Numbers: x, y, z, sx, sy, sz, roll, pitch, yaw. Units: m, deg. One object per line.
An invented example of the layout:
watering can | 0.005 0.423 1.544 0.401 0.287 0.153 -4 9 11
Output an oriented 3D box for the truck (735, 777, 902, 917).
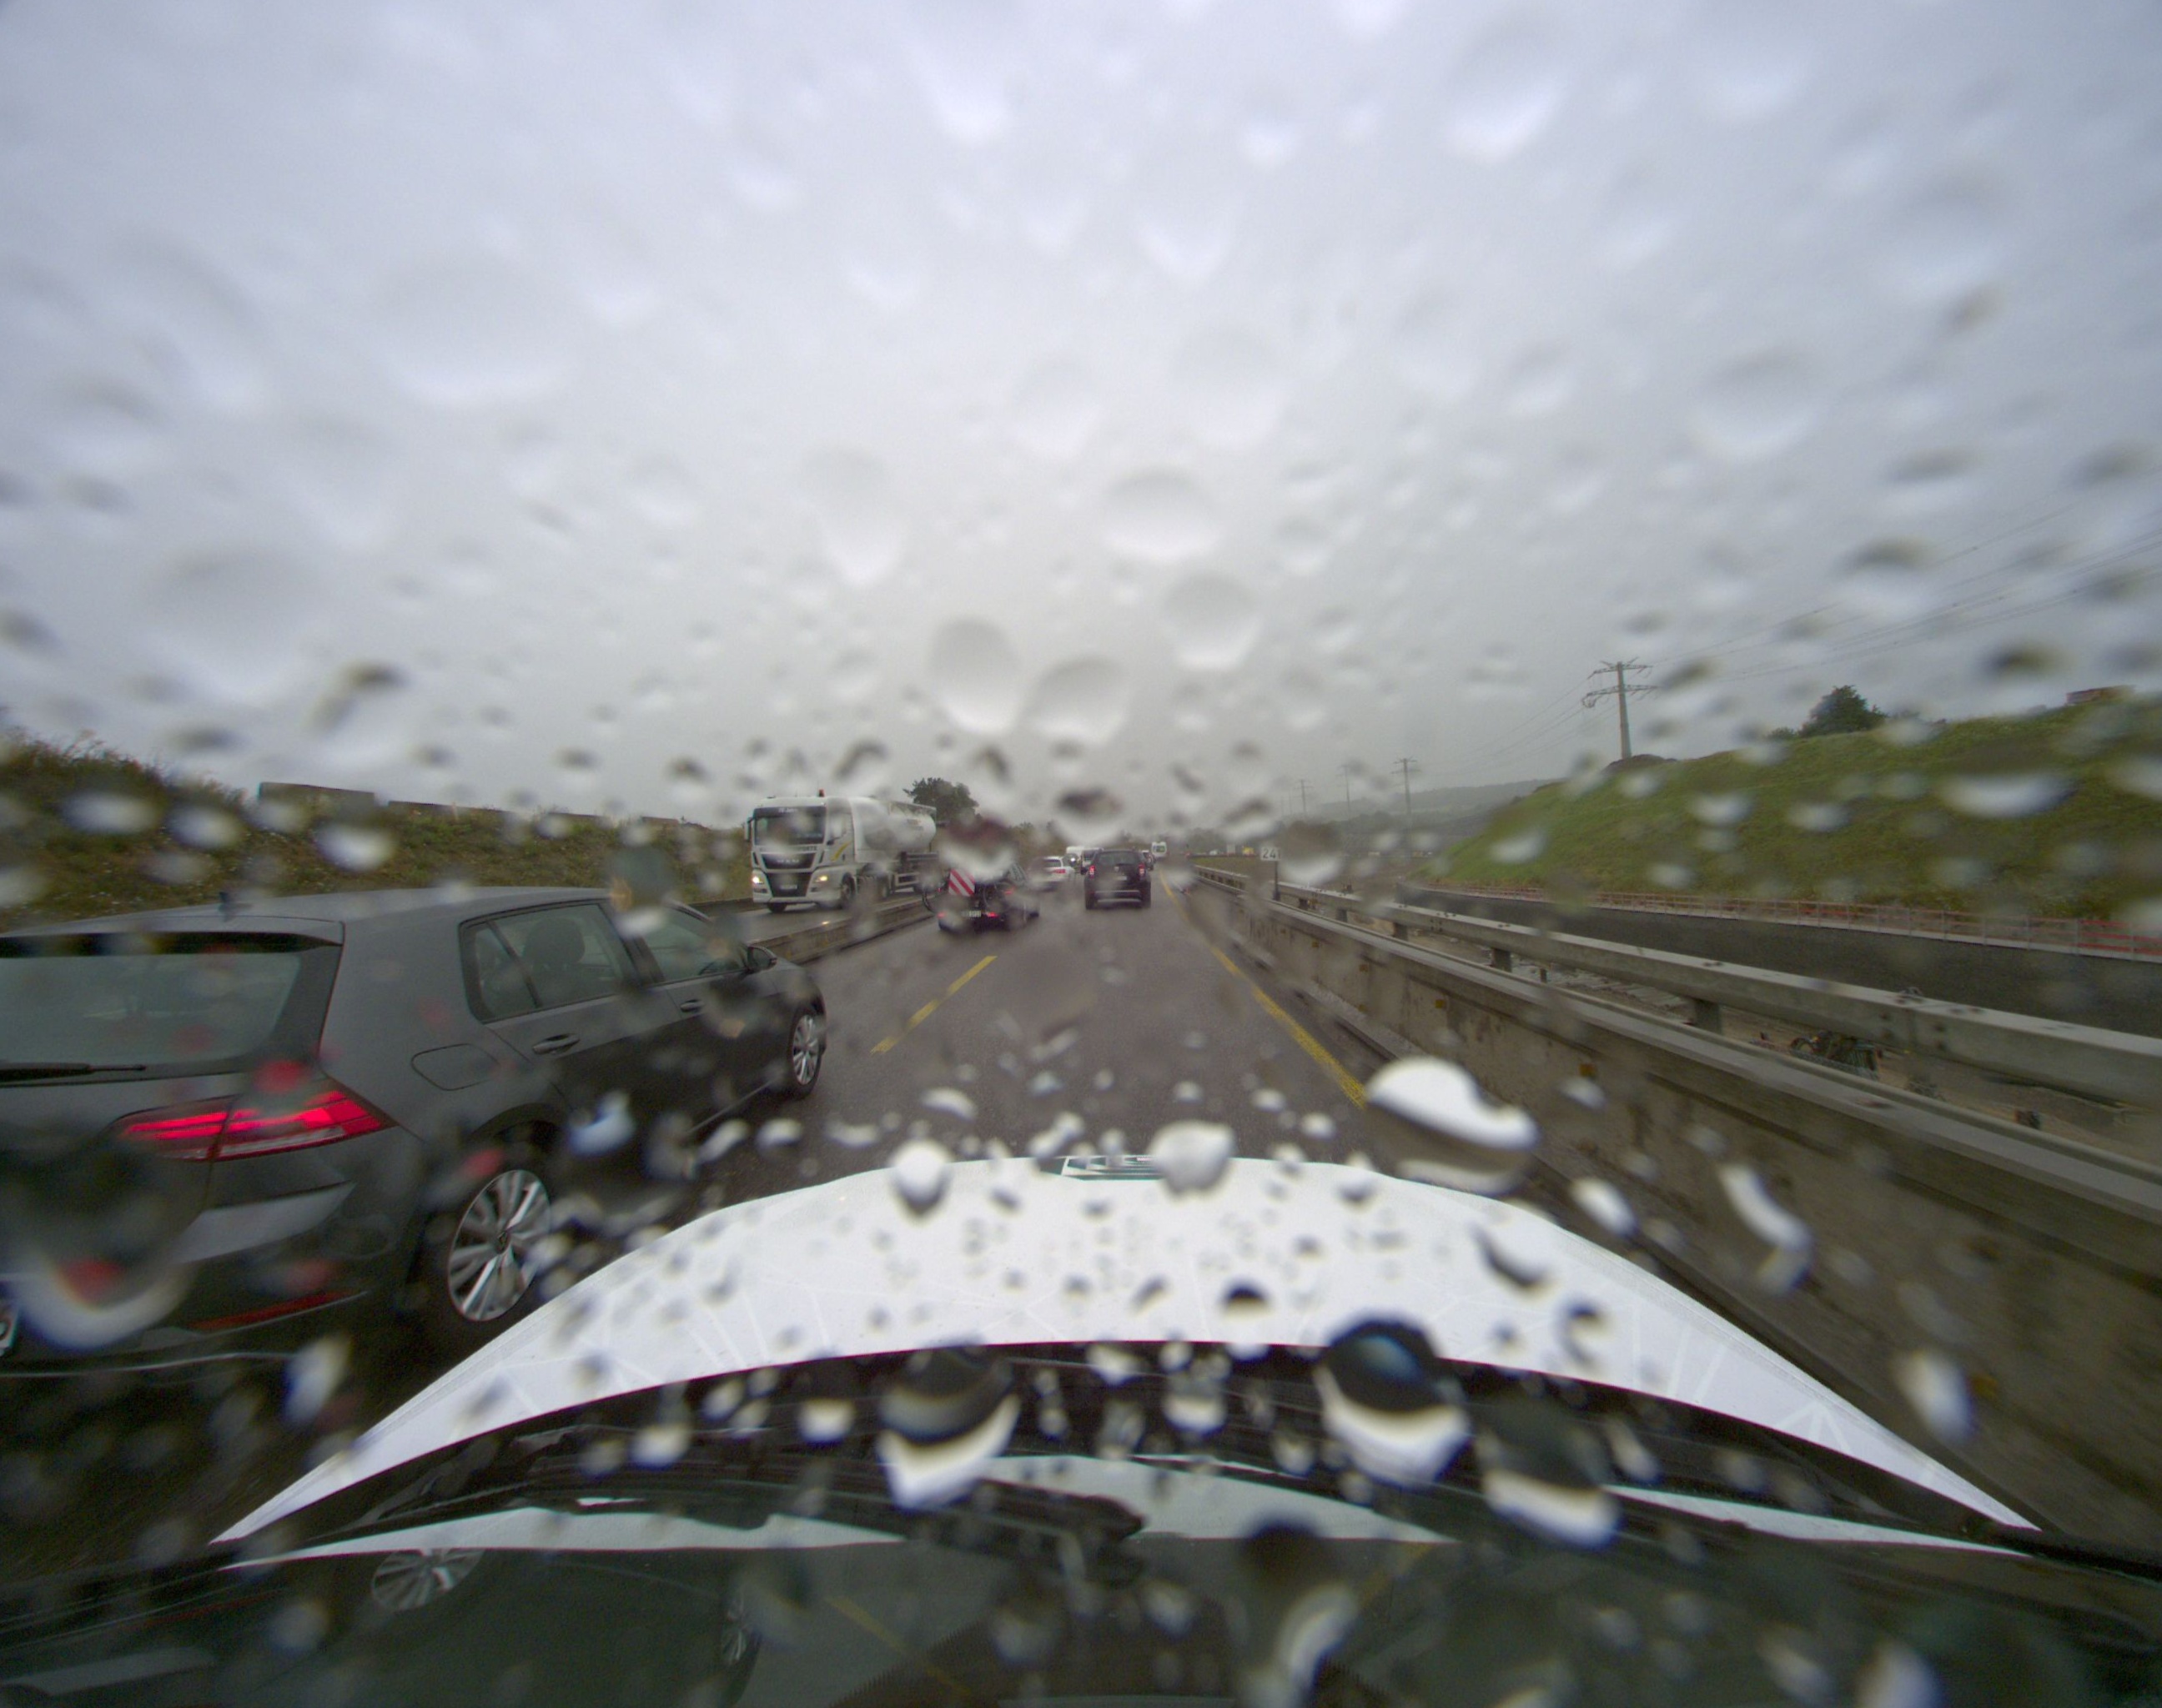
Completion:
truck | -8.254 -0.193 26.531 3.218 3.955 5.885 -2 0 2

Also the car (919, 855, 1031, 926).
car | -2.390 0.790 19.303 1.820 1.476 3.781 -2 0 4

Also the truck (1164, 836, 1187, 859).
truck | 15.742 -1.049 135.228 3.180 3.761 8.534 -1 0 10

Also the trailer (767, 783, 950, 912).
trailer | -7.964 -0.189 31.508 3.242 3.964 11.545 -2 0 3

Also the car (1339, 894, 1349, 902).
car | 67.539 11.235 208.992 1.980 1.816 4.014 -2 -1 13

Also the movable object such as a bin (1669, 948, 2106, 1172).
movable object such as a bin | 28.326 6.794 30.313 4.870 5.671 12.105 0 -3 5

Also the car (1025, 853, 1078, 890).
car | -1.188 0.688 34.762 1.860 1.460 4.551 -1 0 2

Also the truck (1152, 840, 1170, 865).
truck | 10.598 -0.227 108.275 2.139 3.166 6.468 -1 0 5

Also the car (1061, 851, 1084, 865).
car | -0.984 0.458 96.631 1.983 1.586 5.128 -1 0 6

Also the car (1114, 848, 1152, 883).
car | 2.737 0.584 43.190 1.860 1.708 4.003 -1 0 3

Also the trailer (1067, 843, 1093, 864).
trailer | -0.077 -0.078 102.754 2.497 2.564 7.174 -1 0 6

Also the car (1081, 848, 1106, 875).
car | 0.944 0.506 58.592 1.654 1.880 4.022 -1 0 2

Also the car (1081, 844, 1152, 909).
car | 1.076 0.590 23.115 1.796 1.646 3.781 -2 0 5

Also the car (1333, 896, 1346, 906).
car | 61.434 11.166 193.656 2.350 2.013 4.012 -1 0 11

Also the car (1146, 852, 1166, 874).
car | 5.763 0.688 62.796 1.523 1.640 4.018 -1 0 5

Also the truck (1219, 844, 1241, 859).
truck | 44.643 -0.758 243.313 4.680 4.150 15.752 -1 0 17

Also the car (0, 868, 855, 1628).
car | -2.566 0.891 3.890 1.608 1.506 4.368 -3 0 1
